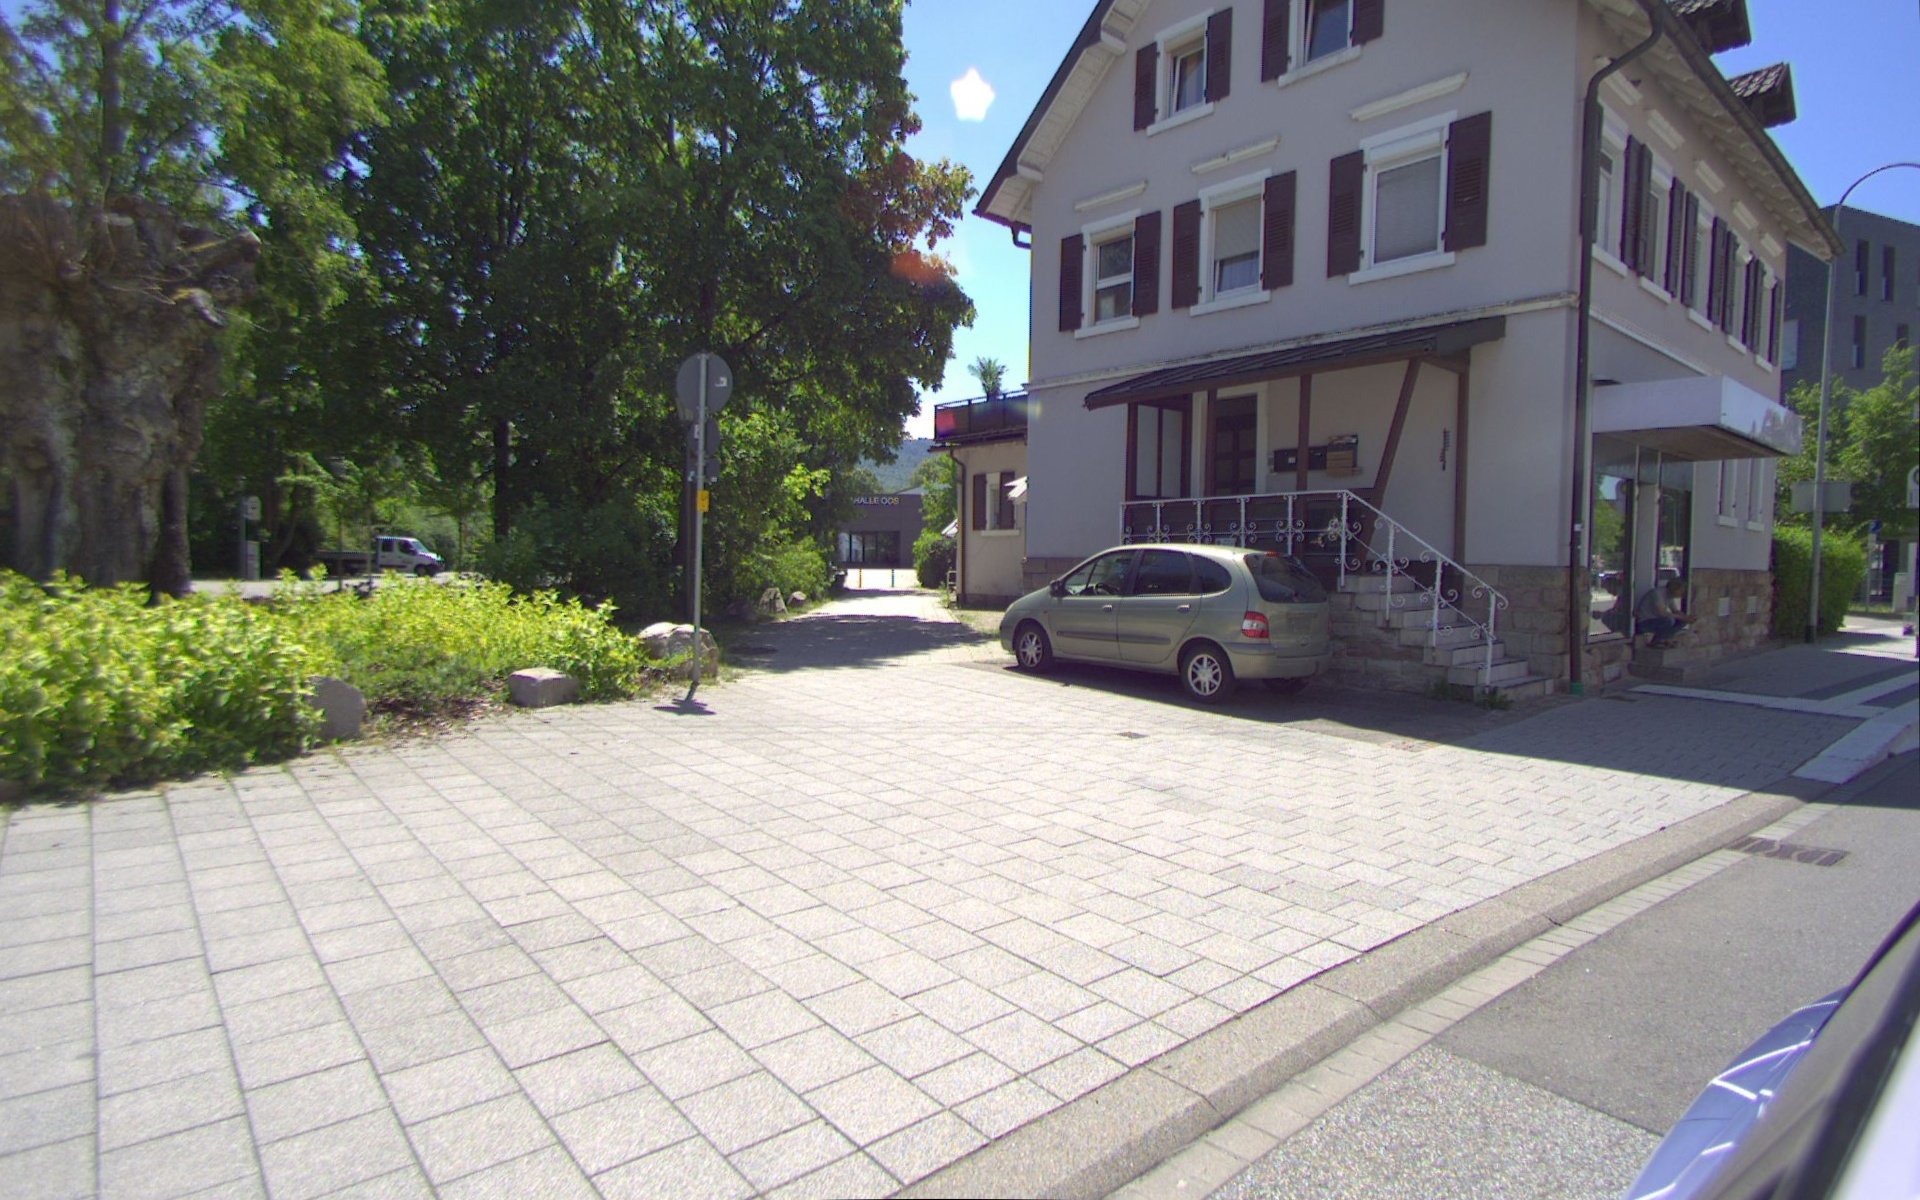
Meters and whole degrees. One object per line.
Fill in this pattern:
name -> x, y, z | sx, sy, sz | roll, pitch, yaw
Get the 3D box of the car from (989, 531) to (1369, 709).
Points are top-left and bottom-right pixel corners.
car -> 2.346, 0.072, 11.760 | 1.770, 1.614, 4.072 | -1, 5, -39

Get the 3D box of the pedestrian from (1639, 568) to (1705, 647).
pedestrian -> 9.591, 0.087, 13.632 | 0.590, 1.011, 0.712 | 4, 4, 44

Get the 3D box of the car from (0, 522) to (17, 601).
car -> -19.898, -0.748, 18.723 | 3.701, 1.471, 1.670 | 2, 3, 9

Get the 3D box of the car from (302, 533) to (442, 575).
car -> -33.881, -2.645, 58.498 | 6.624, 2.266, 2.199 | 0, 2, -11
